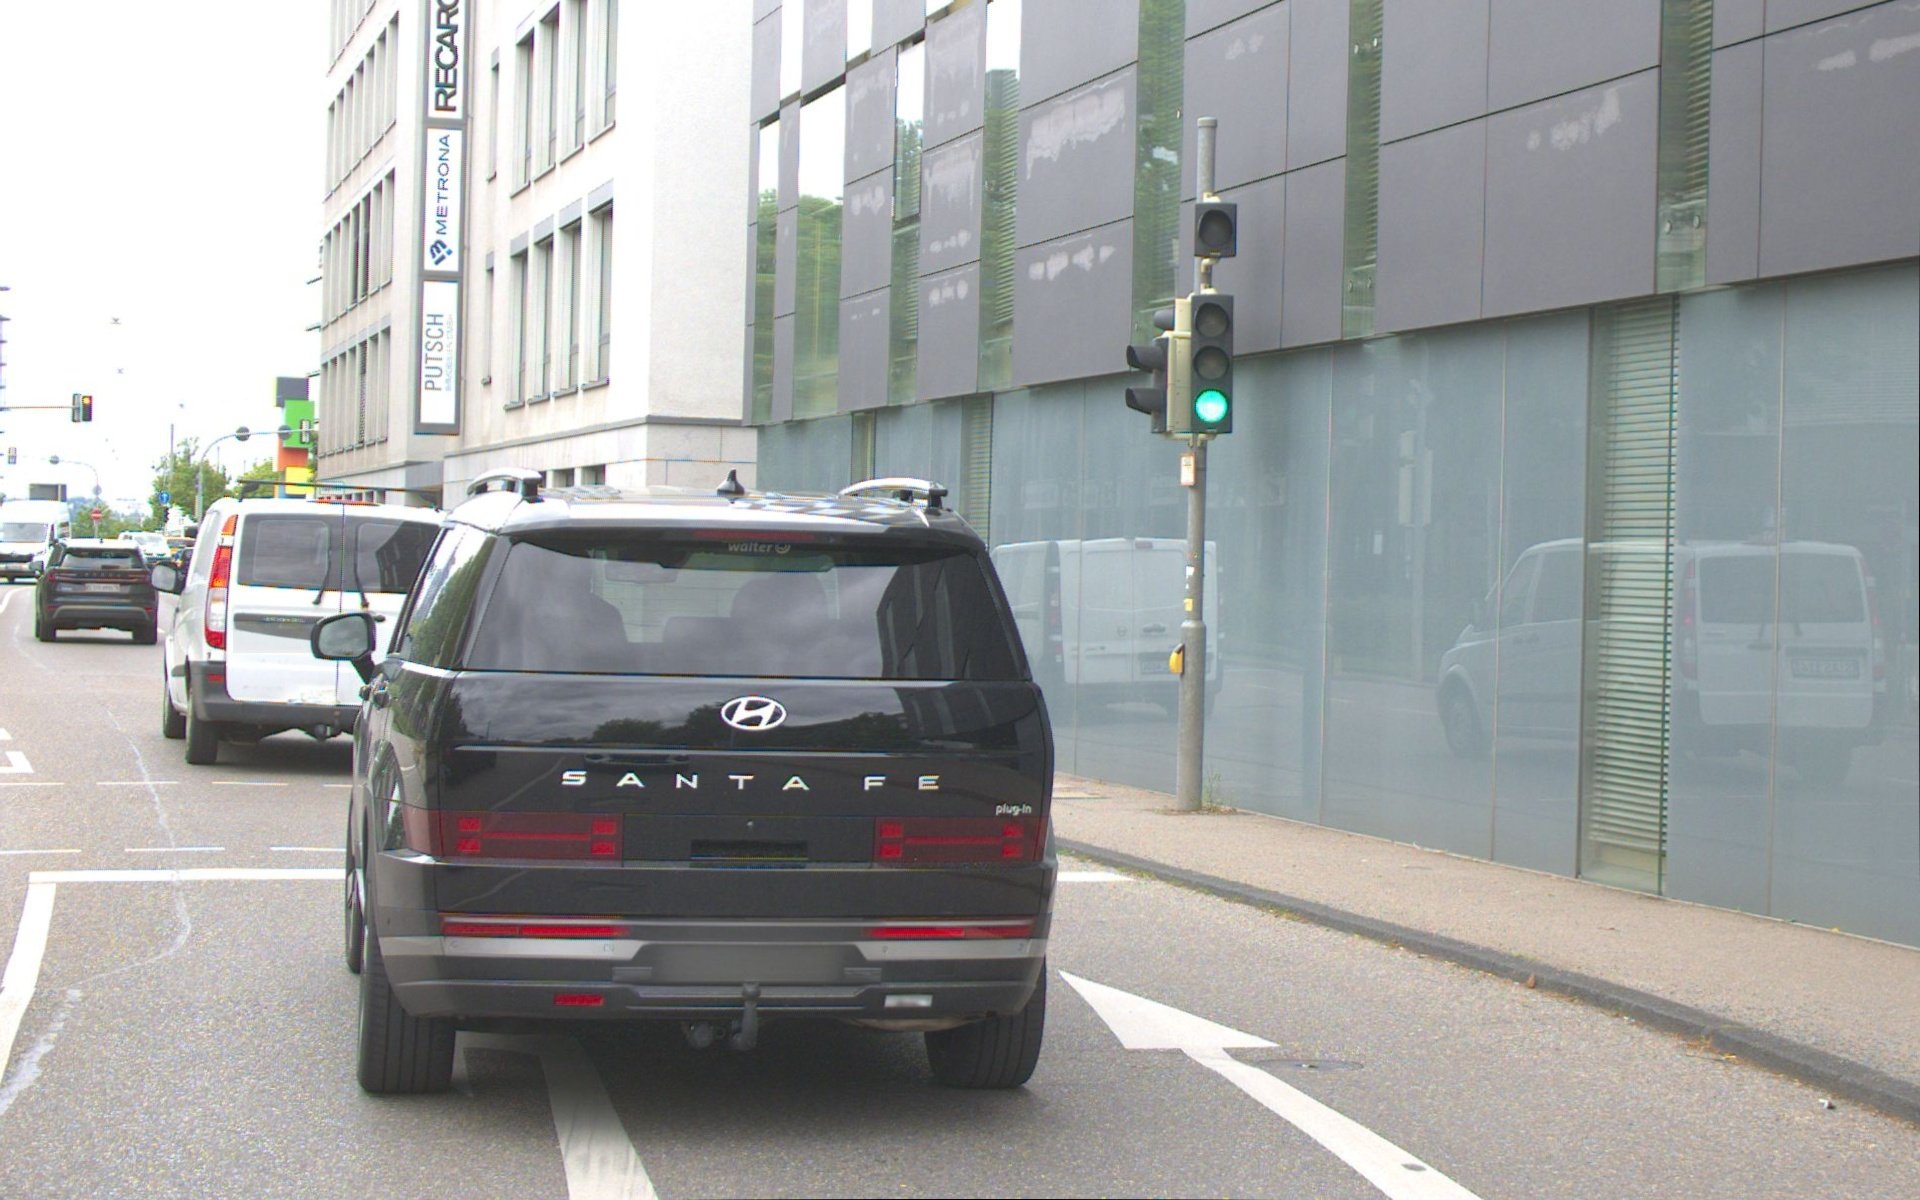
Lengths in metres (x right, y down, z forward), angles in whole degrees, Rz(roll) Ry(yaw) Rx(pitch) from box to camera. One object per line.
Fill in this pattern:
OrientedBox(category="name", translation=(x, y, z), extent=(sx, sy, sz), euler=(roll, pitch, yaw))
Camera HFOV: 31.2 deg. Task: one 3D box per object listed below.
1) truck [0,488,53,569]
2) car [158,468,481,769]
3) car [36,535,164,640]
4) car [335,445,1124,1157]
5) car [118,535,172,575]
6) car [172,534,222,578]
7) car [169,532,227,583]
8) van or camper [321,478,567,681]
OrientedBox(category="truck", translation=(-31.441, -2.396, 114.727), extent=(2.164, 2.607, 5.798), euler=(1, 1, -16))
OrientedBox(category="car", translation=(-4.802, 0.088, 25.277), extent=(1.931, 1.987, 4.536), euler=(1, 1, -15))
OrientedBox(category="car", translation=(-13.863, -0.232, 55.585), extent=(1.759, 1.603, 4.189), euler=(1, 1, -11))
OrientedBox(category="car", translation=(-0.949, 0.473, 10.752), extent=(1.908, 1.743, 4.398), euler=(1, 1, -11))
OrientedBox(category="car", translation=(-40.123, -2.219, 169.197), extent=(1.666, 1.875, 4.001), euler=(1, 1, -27))
OrientedBox(category="car", translation=(-28.904, -1.665, 130.233), extent=(1.759, 1.603, 4.189), euler=(1, 1, -12))
OrientedBox(category="car", translation=(-24.885, -1.396, 112.337), extent=(1.759, 1.603, 4.189), euler=(1, 1, -12))
OrientedBox(category="van or camper", translation=(-5.409, -0.241, 35.619), extent=(1.993, 1.909, 4.333), euler=(2, 1, -15))
